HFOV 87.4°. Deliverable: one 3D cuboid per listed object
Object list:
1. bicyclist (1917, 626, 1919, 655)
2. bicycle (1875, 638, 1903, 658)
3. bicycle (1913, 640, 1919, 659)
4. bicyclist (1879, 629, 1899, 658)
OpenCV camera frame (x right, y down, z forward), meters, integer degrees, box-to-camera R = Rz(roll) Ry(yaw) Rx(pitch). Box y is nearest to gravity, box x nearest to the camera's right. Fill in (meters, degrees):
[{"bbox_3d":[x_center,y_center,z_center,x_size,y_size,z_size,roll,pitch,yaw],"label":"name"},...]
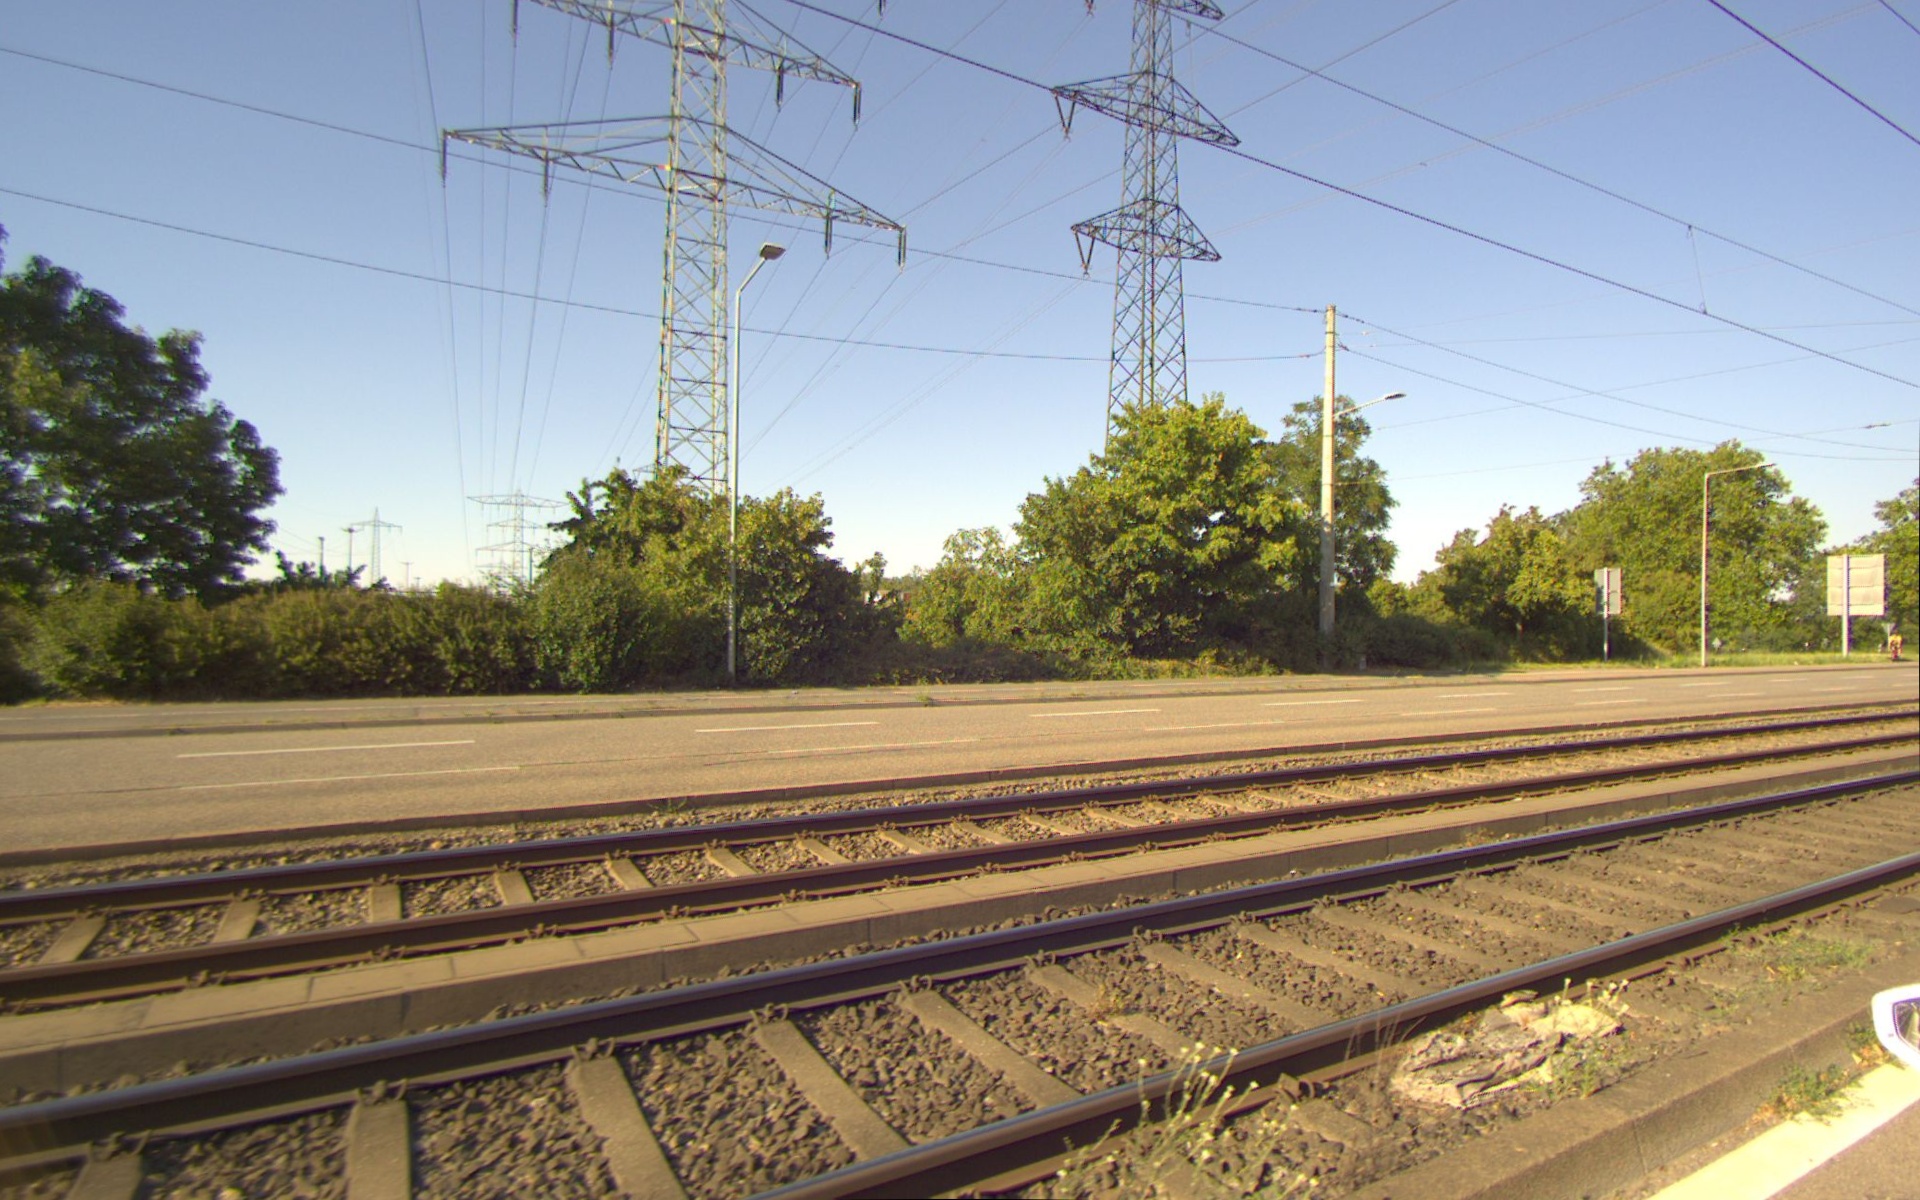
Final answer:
[{"bbox_3d":[53.617,2.249,55.685,0.956,1.632,0.587,2,-1,-32],"label":"bicyclist"},{"bbox_3d":[51.310,2.656,55.461,2.161,1.035,0.587,2,-1,-32],"label":"bicycle"},{"bbox_3d":[53.531,2.763,55.627,2.161,1.035,0.587,2,-1,-32],"label":"bicycle"},{"bbox_3d":[51.310,2.390,55.458,0.896,1.548,0.587,2,-1,-31],"label":"bicyclist"}]
